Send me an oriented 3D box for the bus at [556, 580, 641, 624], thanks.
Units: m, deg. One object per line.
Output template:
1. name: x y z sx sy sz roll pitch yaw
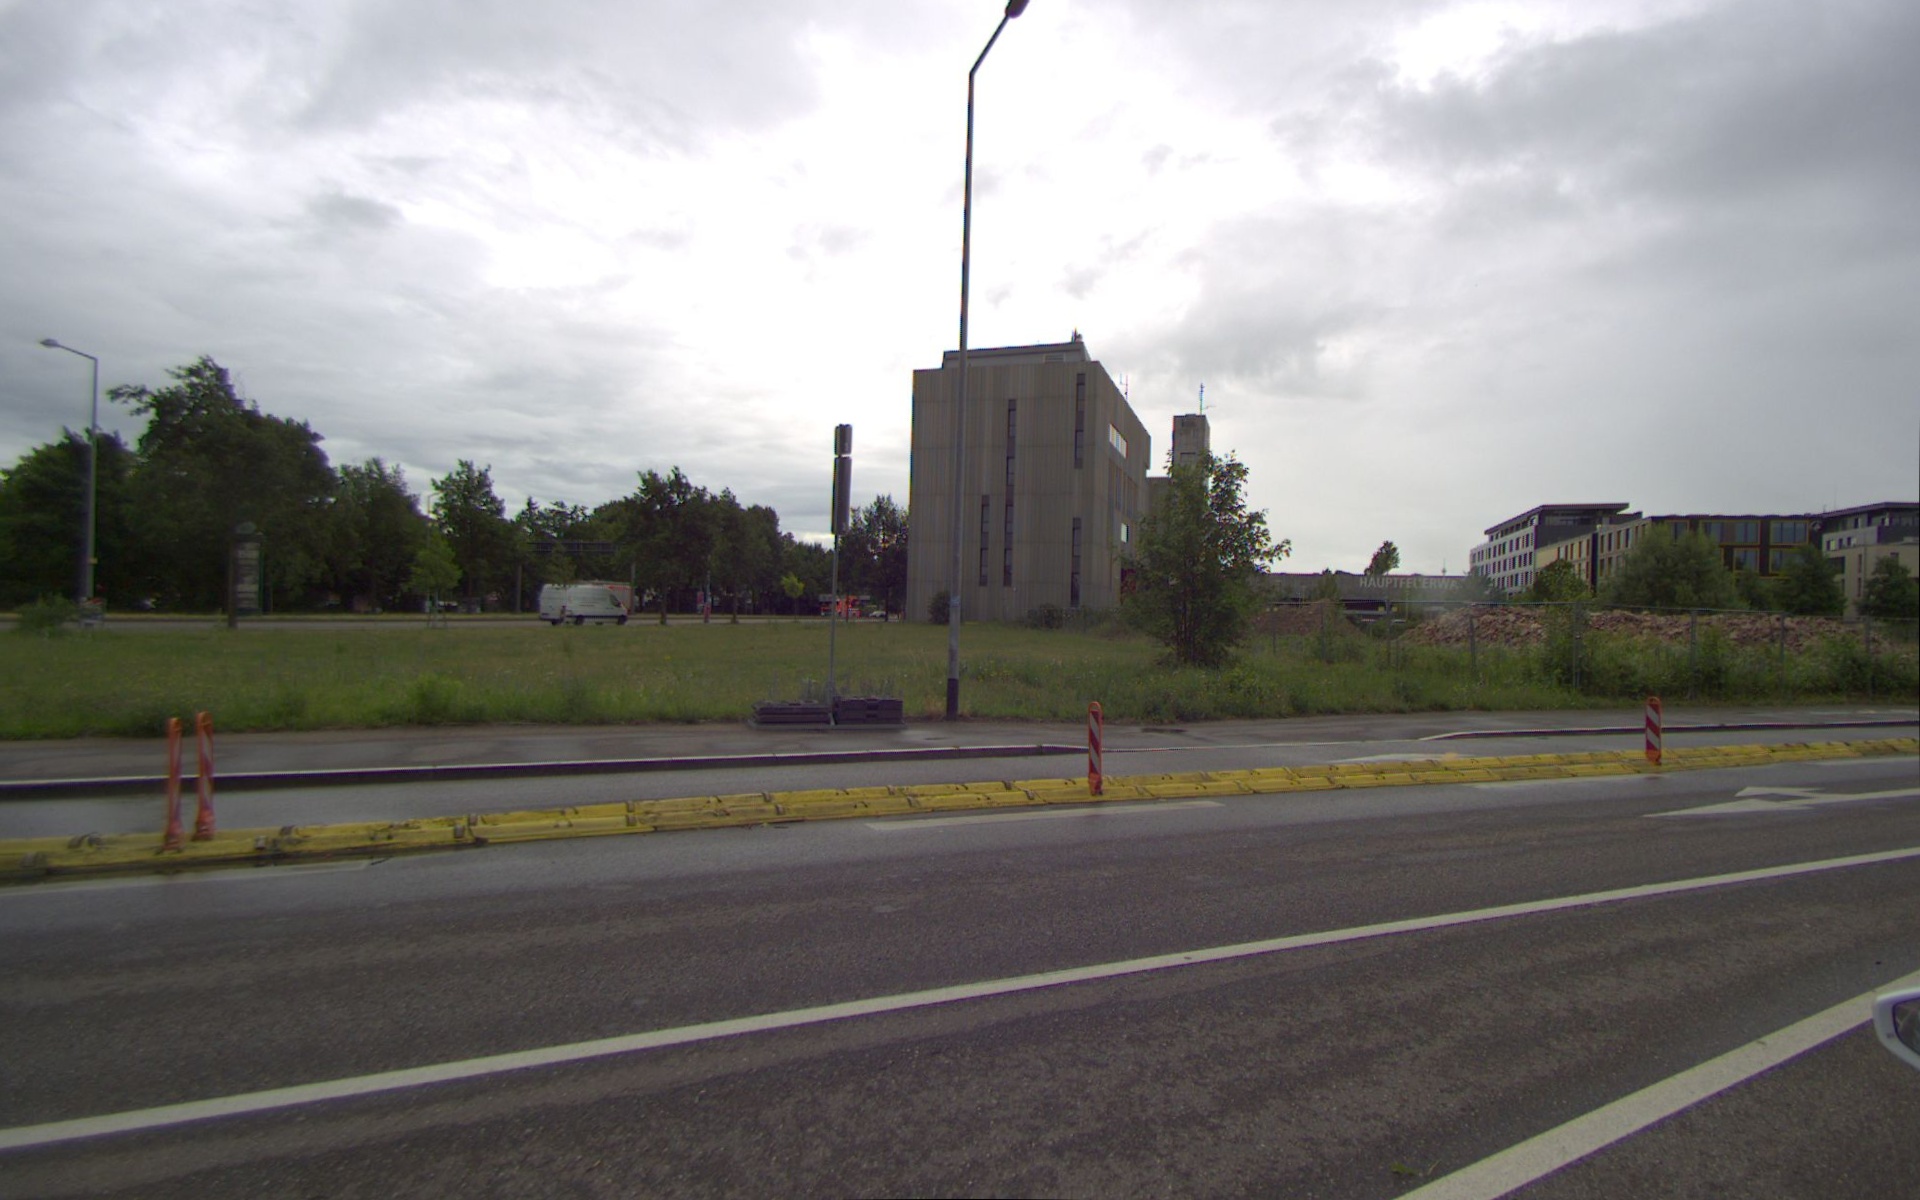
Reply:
1. bus: -31.754 0.234 88.670 2.679 3.697 8.402 1 -1 16

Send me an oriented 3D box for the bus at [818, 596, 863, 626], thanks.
1. bus: -16.698 1.596 141.077 2.679 4.035 9.895 1 -1 16

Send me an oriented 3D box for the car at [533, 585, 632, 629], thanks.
1. car: -24.444 0.484 65.363 2.350 2.740 6.575 1 -1 19
